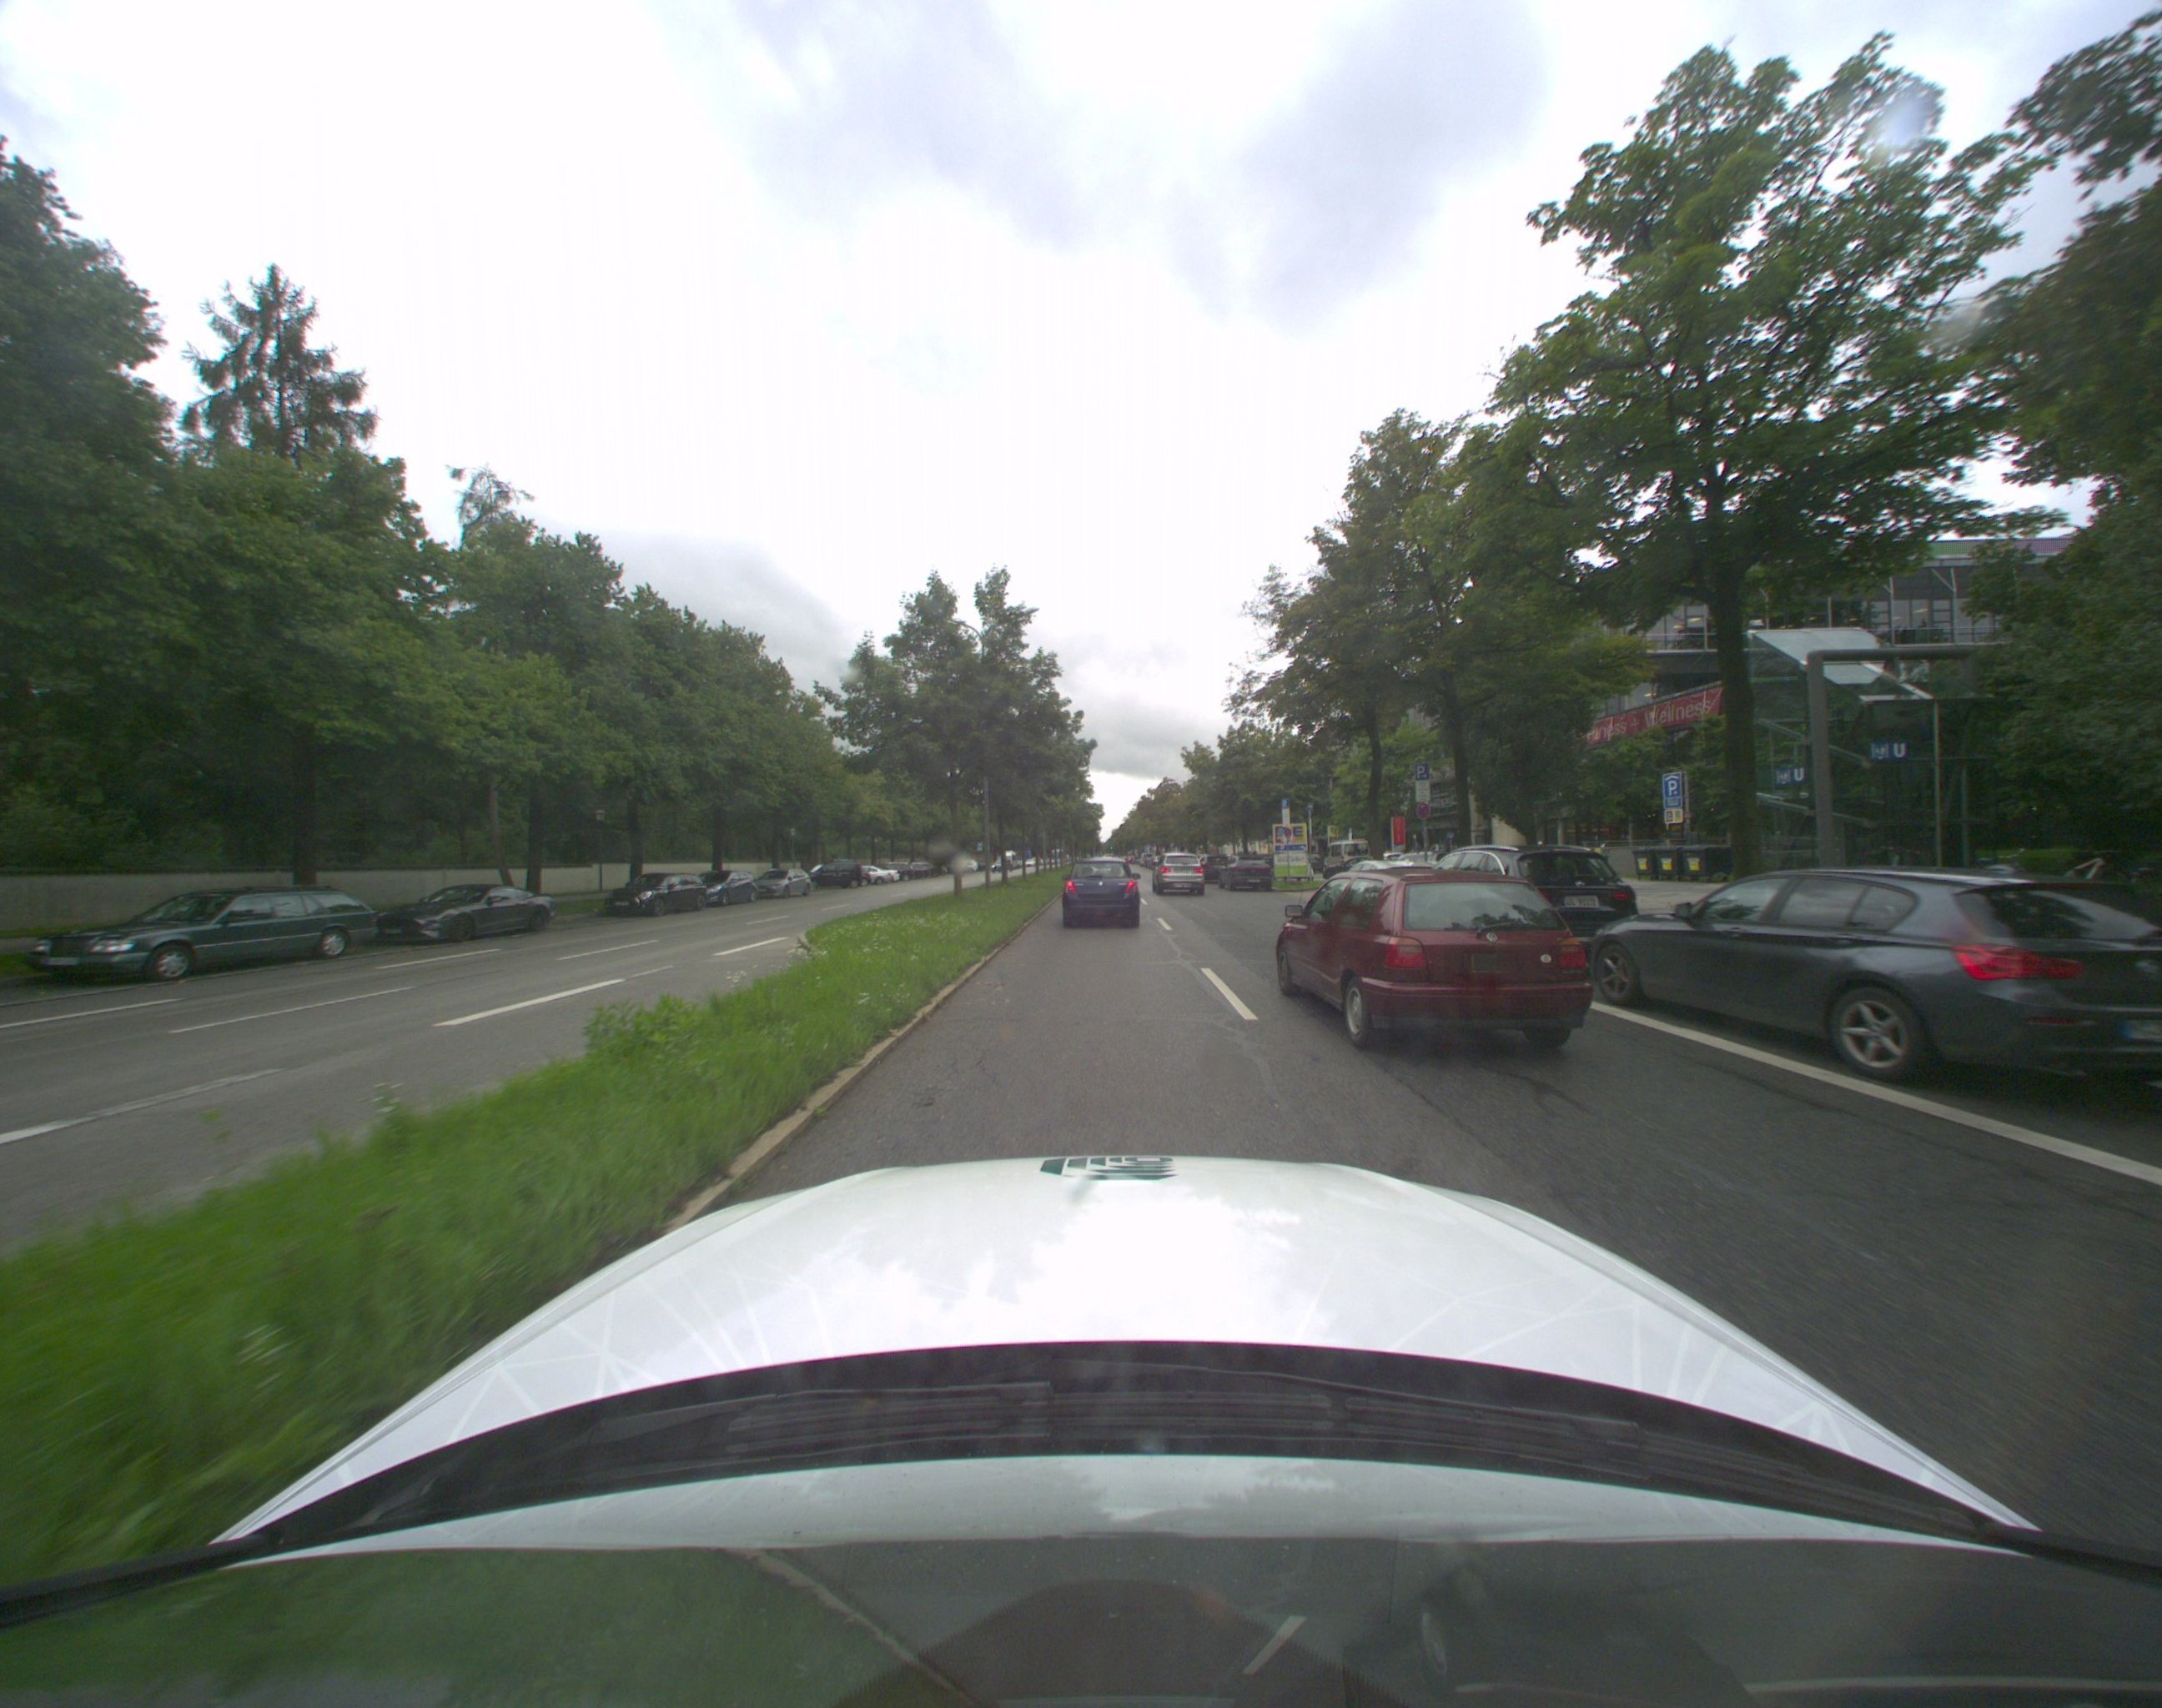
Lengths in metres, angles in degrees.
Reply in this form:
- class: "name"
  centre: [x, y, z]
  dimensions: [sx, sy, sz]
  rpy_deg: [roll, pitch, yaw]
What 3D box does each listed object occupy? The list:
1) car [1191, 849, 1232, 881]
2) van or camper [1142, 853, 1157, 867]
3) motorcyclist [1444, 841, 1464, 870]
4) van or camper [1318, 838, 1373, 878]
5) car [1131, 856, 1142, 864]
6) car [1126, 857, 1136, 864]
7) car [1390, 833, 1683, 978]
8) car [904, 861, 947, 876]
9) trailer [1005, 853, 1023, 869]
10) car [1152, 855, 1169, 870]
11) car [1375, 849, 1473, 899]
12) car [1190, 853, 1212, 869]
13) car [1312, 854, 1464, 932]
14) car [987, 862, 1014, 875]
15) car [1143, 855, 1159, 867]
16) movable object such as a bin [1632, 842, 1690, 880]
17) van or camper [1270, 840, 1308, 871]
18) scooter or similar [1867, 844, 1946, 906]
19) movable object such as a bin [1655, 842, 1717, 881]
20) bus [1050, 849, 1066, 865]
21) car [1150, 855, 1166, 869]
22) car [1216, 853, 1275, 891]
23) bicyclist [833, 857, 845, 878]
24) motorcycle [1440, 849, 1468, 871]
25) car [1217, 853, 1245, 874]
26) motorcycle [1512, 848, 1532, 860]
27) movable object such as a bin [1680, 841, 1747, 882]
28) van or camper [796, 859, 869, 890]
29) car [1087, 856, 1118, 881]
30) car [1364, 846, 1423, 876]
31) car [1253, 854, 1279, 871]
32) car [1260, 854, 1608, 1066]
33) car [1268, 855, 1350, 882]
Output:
- class: "car"
  centre: [7.433, 0.595, 46.785]
  dimensions: [1.755, 1.701, 4.822]
  rpy_deg: [-1, 0, 2]
- class: "van or camper"
  centre: [9.685, 0.838, 115.968]
  dimensions: [1.937, 1.975, 4.309]
  rpy_deg: [-1, 0, 2]
- class: "motorcyclist"
  centre: [23.192, 0.118, 50.674]
  dimensions: [0.688, 1.737, 0.953]
  rpy_deg: [-6, -1, 1]
- class: "van or camper"
  centre: [17.993, 0.279, 55.778]
  dimensions: [1.986, 2.558, 5.959]
  rpy_deg: [-2, 0, 2]
- class: "car"
  centre: [10.494, 1.152, 154.419]
  dimensions: [1.844, 1.447, 4.097]
  rpy_deg: [-1, 0, 0]
- class: "car"
  centre: [10.339, 1.302, 168.275]
  dimensions: [1.844, 1.447, 4.097]
  rpy_deg: [-1, 0, 0]
- class: "car"
  centre: [6.273, 0.618, 11.956]
  dimensions: [1.780, 1.675, 4.596]
  rpy_deg: [-1, 0, 1]
- class: "car"
  centre: [-16.612, 1.555, 86.862]
  dimensions: [4.119, 1.501, 1.901]
  rpy_deg: [-1, 0, -29]
- class: "trailer"
  centre: [-10.691, 1.087, 130.235]
  dimensions: [2.098, 2.540, 5.579]
  rpy_deg: [-2, 0, 2]
- class: "car"
  centre: [8.609, 0.922, 88.388]
  dimensions: [1.677, 1.525, 4.458]
  rpy_deg: [0, 0, 2]
- class: "car"
  centre: [12.337, 0.645, 29.120]
  dimensions: [1.948, 1.625, 4.877]
  rpy_deg: [-1, 0, 39]
- class: "car"
  centre: [12.854, 0.779, 87.428]
  dimensions: [1.678, 1.632, 4.782]
  rpy_deg: [-1, 0, 1]
- class: "car"
  centre: [6.434, 0.748, 17.623]
  dimensions: [1.647, 1.434, 4.483]
  rpy_deg: [-1, 0, 1]
- class: "car"
  centre: [-9.745, 1.750, 99.426]
  dimensions: [1.899, 1.542, 4.204]
  rpy_deg: [-2, 0, 15]
- class: "car"
  centre: [9.395, 0.979, 109.599]
  dimensions: [1.679, 1.554, 4.304]
  rpy_deg: [-1, 0, -1]
- class: "movable object such as a bin"
  centre: [22.637, 0.274, 31.823]
  dimensions: [1.332, 1.409, 1.314]
  rpy_deg: [-1, 0, 0]
- class: "van or camper"
  centre: [18.382, 0.163, 72.305]
  dimensions: [2.016, 2.558, 5.959]
  rpy_deg: [-2, 0, 2]
- class: "scooter or similar"
  centre: [16.960, 0.416, 16.764]
  dimensions: [0.418, 1.233, 1.238]
  rpy_deg: [-1, 0, 4]
- class: "movable object such as a bin"
  centre: [22.617, 0.270, 30.473]
  dimensions: [1.332, 1.409, 1.314]
  rpy_deg: [-1, 0, 0]
- class: "bus"
  centre: [-5.311, 0.656, 188.165]
  dimensions: [2.727, 3.377, 12.020]
  rpy_deg: [-3, 0, 2]
- class: "car"
  centre: [8.891, 0.908, 94.185]
  dimensions: [1.677, 1.626, 4.309]
  rpy_deg: [0, 0, 2]
- class: "car"
  centre: [7.325, 0.763, 36.647]
  dimensions: [1.756, 1.589, 4.452]
  rpy_deg: [-1, 0, 0]
- class: "bicyclist"
  centre: [-21.105, 1.157, 71.061]
  dimensions: [0.702, 1.747, 0.923]
  rpy_deg: [-1, -1, 1]
- class: "motorcycle"
  centre: [23.212, 0.351, 50.722]
  dimensions: [0.693, 1.290, 2.067]
  rpy_deg: [-6, 0, 2]
- class: "car"
  centre: [12.231, 0.768, 66.778]
  dimensions: [1.677, 1.585, 4.011]
  rpy_deg: [-1, 0, 2]
- class: "motorcycle"
  centre: [33.300, 0.007, 61.465]
  dimensions: [0.847, 0.865, 1.572]
  rpy_deg: [-1, 0, 9]
- class: "movable object such as a bin"
  centre: [22.590, 0.268, 29.125]
  dimensions: [1.332, 1.409, 1.314]
  rpy_deg: [-1, 0, 0]
- class: "van or camper"
  centre: [-16.112, 1.310, 52.850]
  dimensions: [4.146, 1.854, 1.829]
  rpy_deg: [-1, 0, -39]
- class: "car"
  centre: [1.296, 0.898, 51.478]
  dimensions: [1.844, 1.447, 4.097]
  rpy_deg: [-1, 0, 0]
- class: "car"
  centre: [18.116, 0.391, 47.470]
  dimensions: [1.986, 1.651, 4.002]
  rpy_deg: [-2, 0, 2]
- class: "car"
  centre: [19.095, 0.843, 84.251]
  dimensions: [1.679, 1.632, 4.497]
  rpy_deg: [-1, 0, 0]
- class: "car"
  centre: [2.910, 0.748, 7.694]
  dimensions: [1.616, 1.454, 3.950]
  rpy_deg: [-1, 0, 1]
- class: "car"
  centre: [13.107, 0.848, 47.171]
  dimensions: [1.694, 1.454, 4.793]
  rpy_deg: [-1, 0, -29]
